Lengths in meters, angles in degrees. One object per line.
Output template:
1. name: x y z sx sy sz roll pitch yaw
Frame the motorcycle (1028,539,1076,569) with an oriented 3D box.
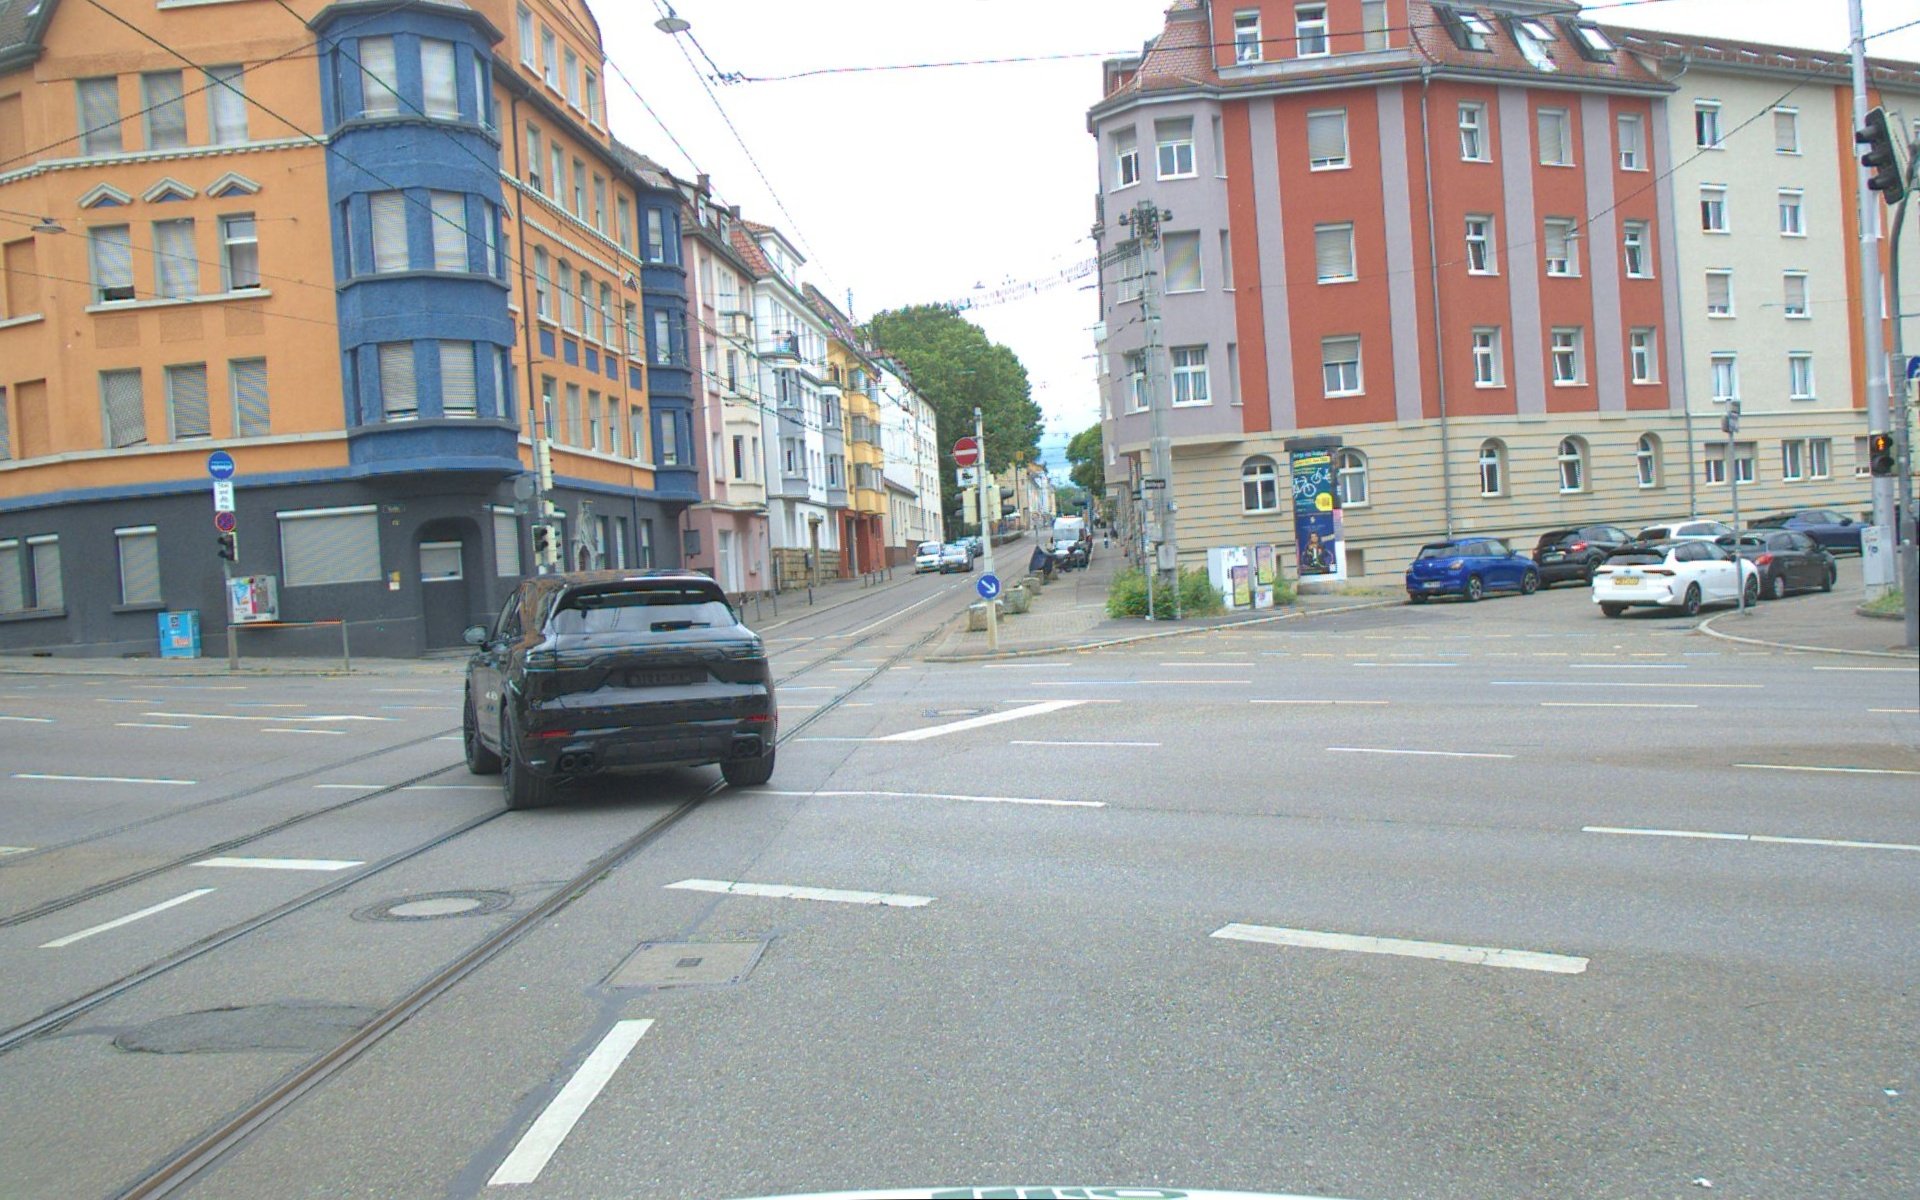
1. motorcycle: 4.300 -2.168 77.458 2.134 1.349 0.699 -2 2 -5

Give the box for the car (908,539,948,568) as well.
1. car: -1.963 -2.905 102.758 1.951 1.721 4.004 -2 2 6

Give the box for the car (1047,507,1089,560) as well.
1. car: 6.299 -3.865 96.164 2.219 2.940 4.773 -2 2 6

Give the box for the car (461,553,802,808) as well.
1. car: -2.825 0.520 13.364 1.995 1.670 4.328 -1 1 -21

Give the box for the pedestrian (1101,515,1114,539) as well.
1. pedestrian: 10.547 -5.207 118.580 0.667 1.660 0.672 -2 -1 30

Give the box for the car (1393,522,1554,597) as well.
1. car: 12.673 -1.016 40.688 4.105 1.561 1.890 -6 4 -41

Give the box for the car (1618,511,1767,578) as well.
1. car: 21.085 -1.601 47.578 4.085 1.660 1.899 -5 4 -30

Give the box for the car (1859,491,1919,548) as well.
1. car: 30.701 -2.591 52.410 4.080 1.660 1.902 -5 4 -27

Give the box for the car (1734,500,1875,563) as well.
1. car: 25.629 -2.074 50.147 4.085 1.660 1.899 -5 4 -30

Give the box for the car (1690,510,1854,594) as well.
1. car: 17.980 -1.082 36.551 4.109 1.561 1.889 -6 4 -42

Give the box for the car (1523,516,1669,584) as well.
1. car: 17.026 -1.354 44.194 4.104 1.561 1.891 -6 4 -40

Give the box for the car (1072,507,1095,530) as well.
1. car: 12.814 -8.386 171.249 2.219 2.221 4.773 -2 2 6

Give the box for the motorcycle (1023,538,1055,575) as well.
1. motorcycle: 3.185 -1.765 66.955 0.843 1.348 2.182 -9 2 -4

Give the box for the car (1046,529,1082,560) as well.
1. car: 5.714 -3.029 90.448 1.801 1.596 3.822 -2 2 6

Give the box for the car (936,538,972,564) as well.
1. car: -0.328 -2.778 93.599 1.650 1.349 3.665 -2 2 6

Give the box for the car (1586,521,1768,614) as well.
1. car: 14.340 -0.683 32.989 4.111 1.561 1.888 -6 4 -44
